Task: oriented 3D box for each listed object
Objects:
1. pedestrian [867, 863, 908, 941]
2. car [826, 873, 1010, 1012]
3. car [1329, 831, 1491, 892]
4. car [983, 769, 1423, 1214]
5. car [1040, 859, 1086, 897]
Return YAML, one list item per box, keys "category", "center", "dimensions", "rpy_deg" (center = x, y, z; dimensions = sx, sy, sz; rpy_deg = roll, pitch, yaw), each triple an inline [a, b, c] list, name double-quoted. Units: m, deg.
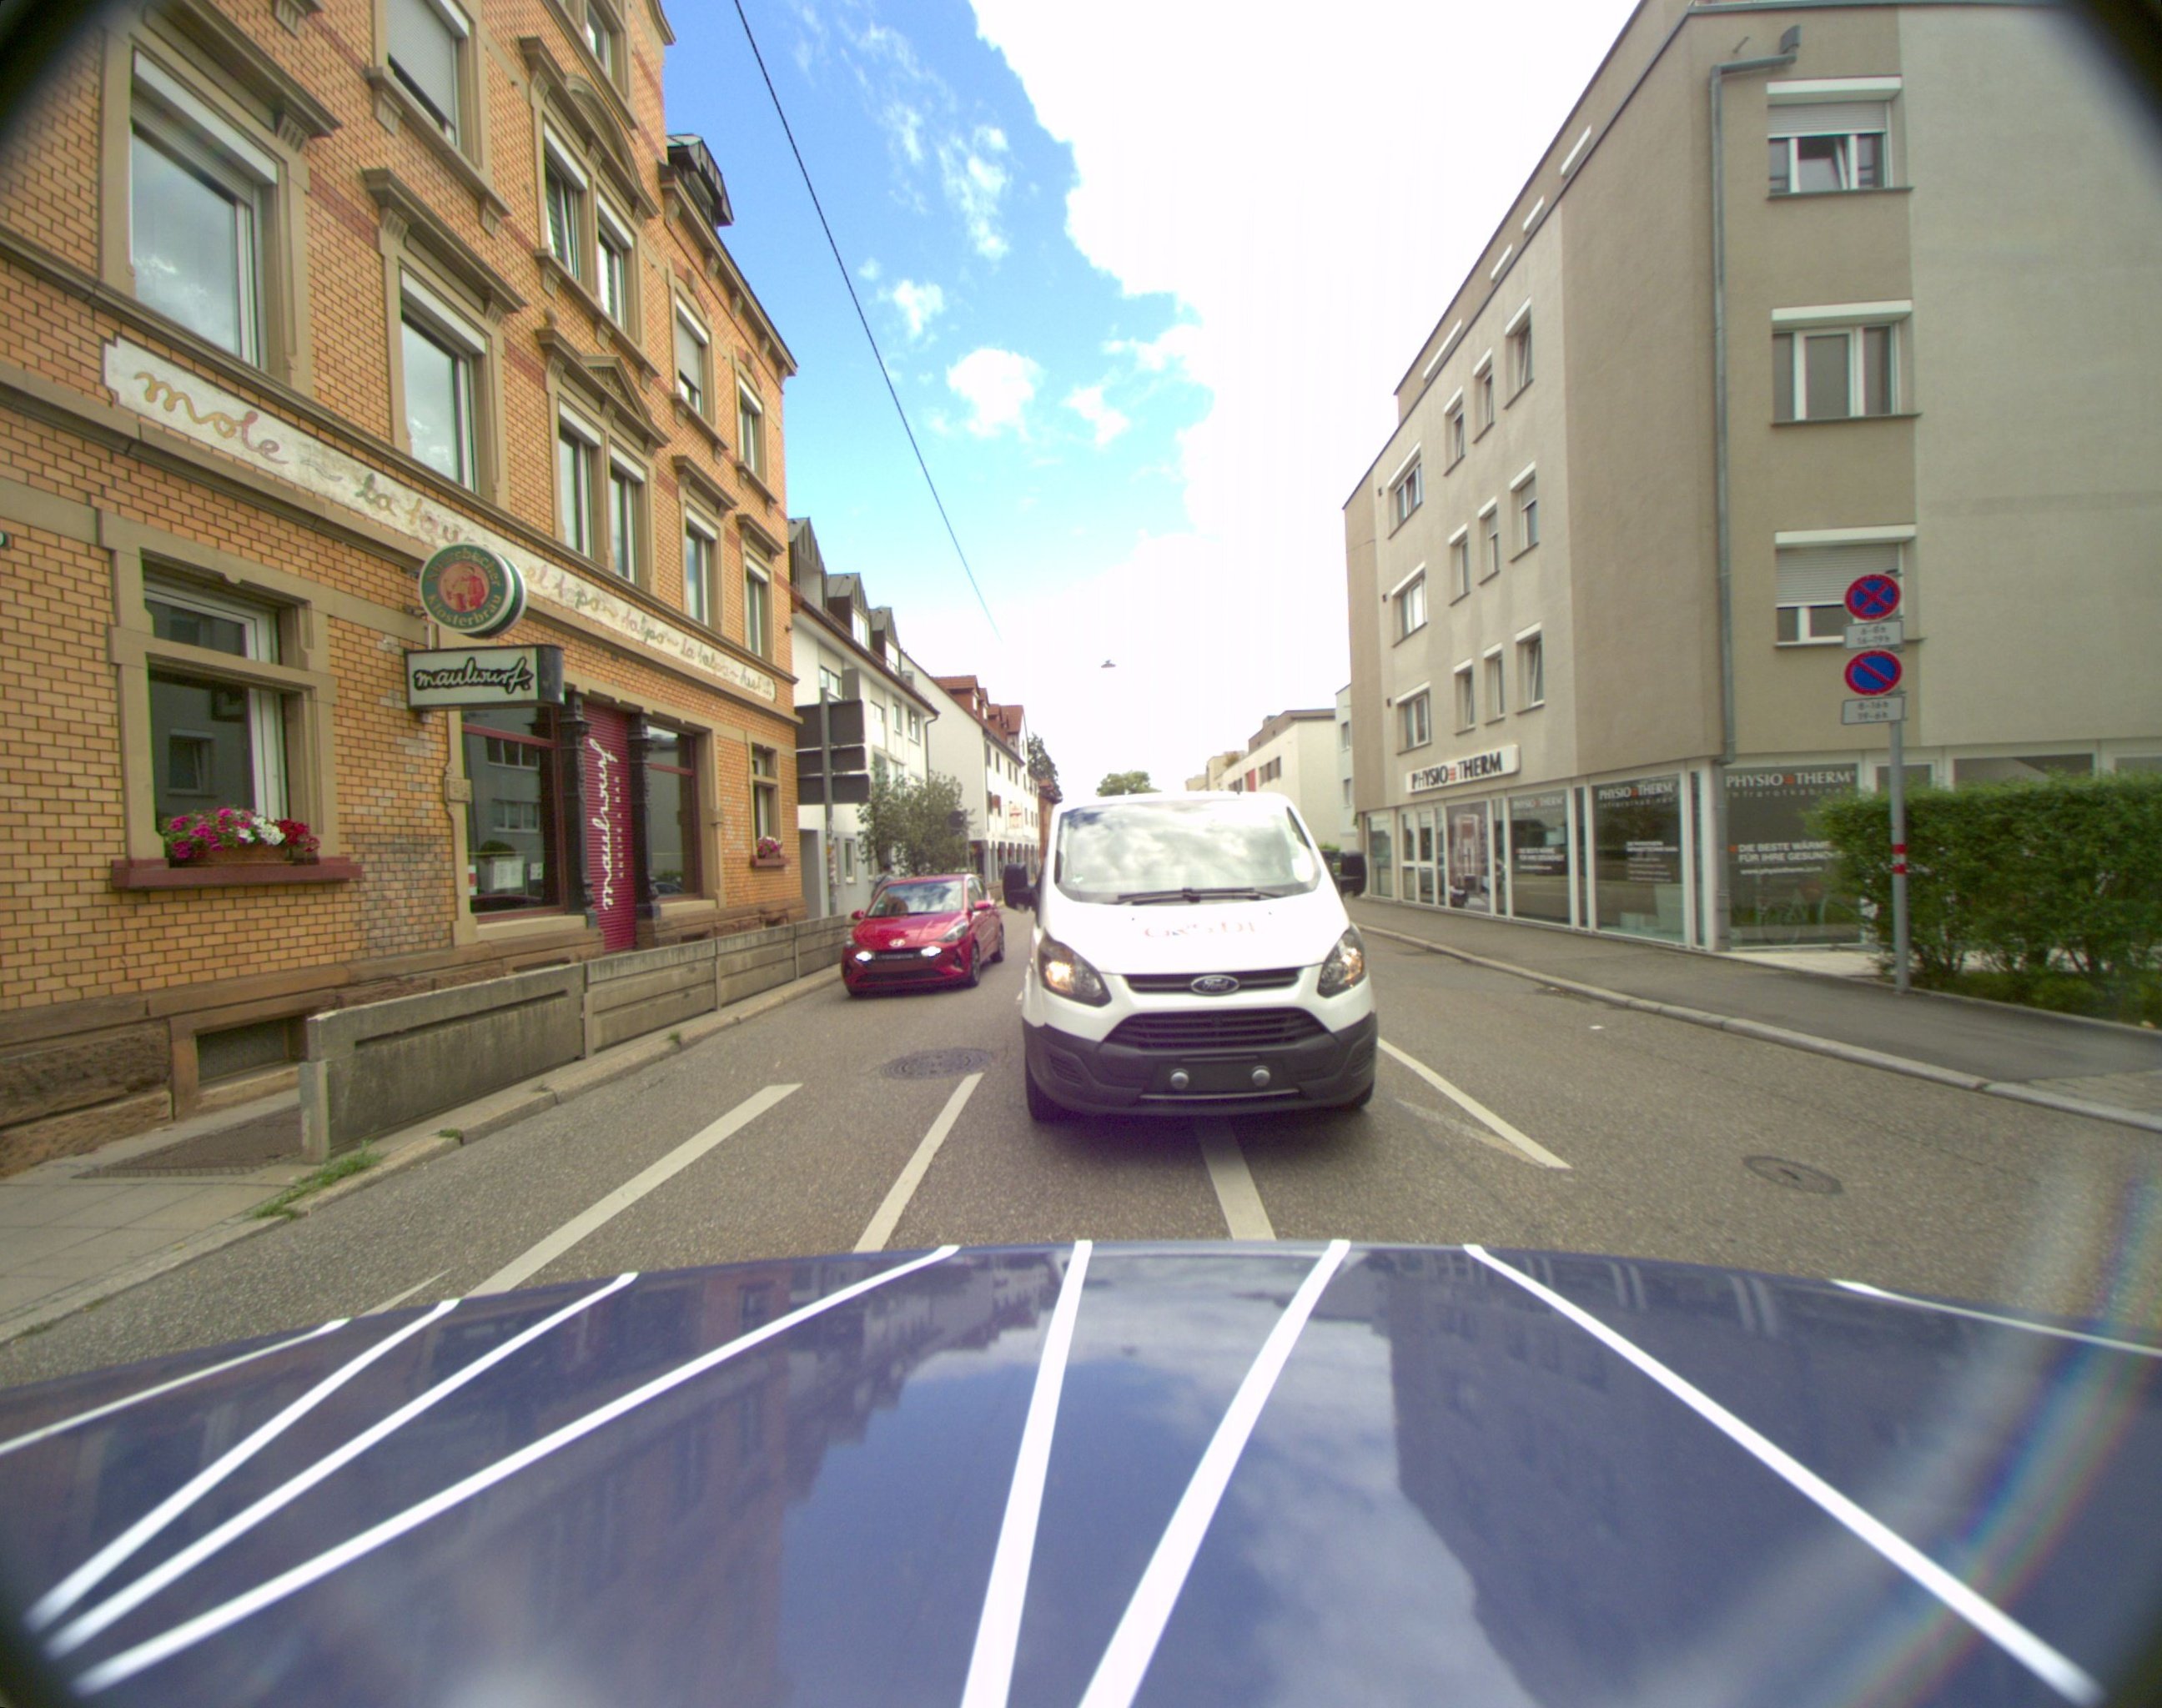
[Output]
- category: "pedestrian"
  center: [-4.399, 1.069, 17.312]
  dimensions: [0.690, 1.720, 0.650]
  rpy_deg: [-2, 0, 0]
- category: "car"
  center: [-2.134, 1.108, 11.092]
  dimensions: [1.702, 1.444, 4.000]
  rpy_deg: [-4, 0, 0]
- category: "car"
  center: [12.003, 0.269, 28.028]
  dimensions: [5.082, 1.986, 1.967]
  rpy_deg: [-2, 0, 4]
- category: "car"
  center: [0.579, 0.636, 6.035]
  dimensions: [1.965, 1.986, 5.087]
  rpy_deg: [-2, 0, 0]
- category: "car"
  center: [-0.813, 1.106, 36.875]
  dimensions: [1.998, 1.537, 4.570]
  rpy_deg: [-4, 0, 0]
